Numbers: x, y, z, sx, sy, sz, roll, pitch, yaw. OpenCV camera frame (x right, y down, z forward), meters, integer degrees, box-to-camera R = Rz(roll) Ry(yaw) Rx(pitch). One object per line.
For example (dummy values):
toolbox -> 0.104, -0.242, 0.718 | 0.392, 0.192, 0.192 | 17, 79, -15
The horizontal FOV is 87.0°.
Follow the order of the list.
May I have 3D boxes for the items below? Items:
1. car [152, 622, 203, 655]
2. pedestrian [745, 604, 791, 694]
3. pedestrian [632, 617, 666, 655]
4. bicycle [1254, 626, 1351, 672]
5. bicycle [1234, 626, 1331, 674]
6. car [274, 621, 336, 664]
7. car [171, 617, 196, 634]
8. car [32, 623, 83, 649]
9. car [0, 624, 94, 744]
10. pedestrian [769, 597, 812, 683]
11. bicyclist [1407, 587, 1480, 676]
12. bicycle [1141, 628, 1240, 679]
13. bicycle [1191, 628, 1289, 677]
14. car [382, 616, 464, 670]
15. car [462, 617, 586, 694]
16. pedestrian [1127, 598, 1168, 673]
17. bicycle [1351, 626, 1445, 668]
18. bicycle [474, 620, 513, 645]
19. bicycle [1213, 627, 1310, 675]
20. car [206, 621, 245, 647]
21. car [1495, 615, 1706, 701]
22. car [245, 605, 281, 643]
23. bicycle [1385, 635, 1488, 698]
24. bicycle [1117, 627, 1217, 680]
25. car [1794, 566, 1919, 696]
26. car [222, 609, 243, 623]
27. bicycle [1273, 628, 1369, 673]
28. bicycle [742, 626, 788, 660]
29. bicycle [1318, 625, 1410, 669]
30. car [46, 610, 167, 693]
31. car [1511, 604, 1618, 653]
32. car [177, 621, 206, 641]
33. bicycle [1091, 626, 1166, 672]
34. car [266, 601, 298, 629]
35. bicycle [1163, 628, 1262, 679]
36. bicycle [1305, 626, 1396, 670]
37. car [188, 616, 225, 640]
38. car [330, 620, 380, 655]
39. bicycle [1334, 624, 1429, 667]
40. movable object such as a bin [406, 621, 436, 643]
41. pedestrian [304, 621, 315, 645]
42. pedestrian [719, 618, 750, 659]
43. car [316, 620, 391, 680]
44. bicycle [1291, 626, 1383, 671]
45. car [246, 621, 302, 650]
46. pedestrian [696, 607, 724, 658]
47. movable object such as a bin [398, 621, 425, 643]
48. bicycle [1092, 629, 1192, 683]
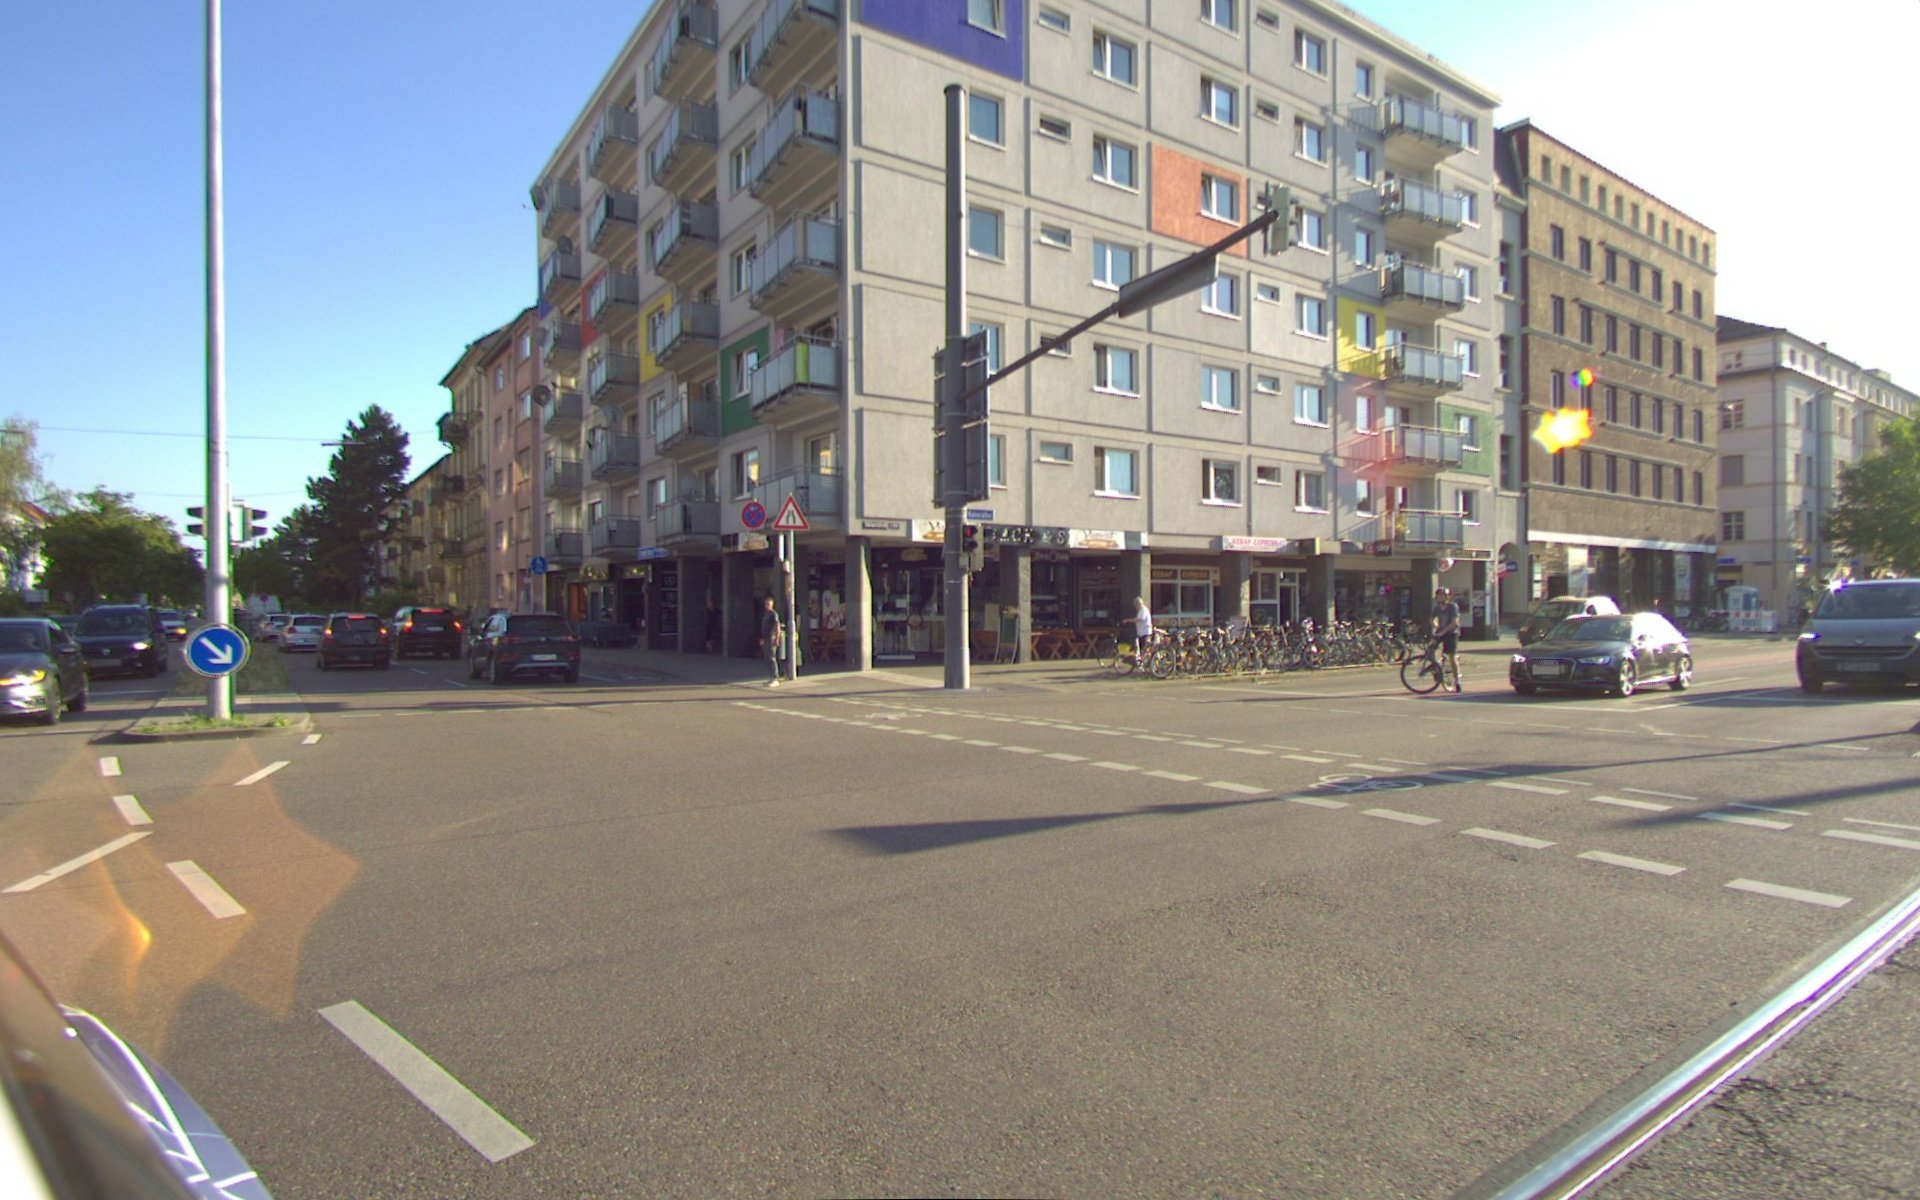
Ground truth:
car -> -40.135, 1.958, 51.956 | 1.877, 1.552, 4.010 | 0, 0, -35
pedestrian -> -3.986, 0.994, 20.952 | 0.600, 1.800, 0.814 | -3, 1, -31
pedestrian -> -11.298, 1.297, 36.777 | 0.958, 1.356, 0.885 | 0, -1, -35
bicycle -> 8.513, 1.201, 25.243 | 0.725, 1.059, 2.305 | 0, 0, -35
bicycle -> 7.864, 1.197, 24.786 | 0.725, 1.059, 2.305 | 0, 0, -35
car -> -25.338, 1.622, 39.107 | 1.654, 1.556, 3.813 | 2, -2, -38
car -> -68.835, 2.279, 89.757 | 1.730, 1.499, 4.257 | 1, -2, -37
car -> -56.581, 2.202, 63.518 | 1.875, 1.529, 4.085 | 0, -1, -34
car -> -13.455, 1.125, 14.005 | 1.742, 1.470, 4.280 | -2, -1, -34
pedestrian -> -3.841, 0.896, 22.935 | 0.600, 1.889, 0.814 | -3, 1, -34
bicyclist -> 9.003, 0.586, 18.865 | 0.726, 1.610, 0.965 | 1, -2, -34
bicycle -> 5.193, 1.188, 22.972 | 0.725, 1.059, 2.305 | 0, 0, -35
bicycle -> 6.578, 1.203, 23.928 | 0.725, 1.059, 2.305 | 0, 0, -35
car -> -18.488, 1.445, 34.718 | 1.792, 1.724, 4.797 | 2, -2, -36
car -> -9.938, 1.206, 22.891 | 1.770, 1.577, 4.157 | 1, -2, -35
pedestrian -> 4.513, 0.845, 24.386 | 0.600, 1.735, 0.686 | -3, 1, -35
bicycle -> 11.940, 1.273, 27.661 | 0.725, 1.059, 2.305 | 0, 0, -35
bicycle -> -23.674, 1.629, 51.392 | 1.752, 1.200, 0.474 | 0, -1, -37
bicycle -> 7.225, 1.200, 24.369 | 0.725, 1.059, 2.305 | 0, 0, -35
car -> -45.921, 2.131, 63.265 | 1.654, 1.556, 4.109 | 2, -2, -40
car -> 11.510, 0.958, 18.104 | 4.132, 1.322, 1.805 | 0, -1, -37
car -> -52.736, 1.783, 76.531 | 2.102, 2.777, 4.477 | 1, -2, -35
bicycle -> 8.826, 1.202, 18.718 | 1.753, 1.106, 0.954 | 1, -2, -34
bicycle -> 4.557, 1.159, 22.480 | 0.725, 1.059, 2.305 | 0, 0, -35
car -> 16.649, 0.485, 17.744 | 4.858, 2.029, 2.005 | 0, -1, -37
car -> -78.800, 1.728, 109.627 | 1.570, 1.554, 3.414 | 1, -1, -33
bicycle -> 9.147, 1.259, 25.736 | 0.725, 1.059, 2.305 | 0, 0, -35
bicycle -> -6.231, 1.365, 32.349 | 0.617, 1.006, 1.699 | 0, -1, -44
bicycle -> 10.650, 1.220, 26.762 | 0.636, 1.059, 2.305 | 0, 0, -35
car -> -20.980, 1.196, 25.050 | 1.865, 1.868, 4.477 | 1, -2, -35
car -> 20.127, 0.911, 33.662 | 3.935, 1.519, 1.700 | 0, -1, -37
car -> -60.602, 2.424, 79.771 | 1.572, 1.482, 3.991 | 1, -2, -40
bicycle -> 4.146, 1.188, 24.853 | 2.032, 1.100, 0.521 | 1, -2, -35
car -> -40.089, 0.910, 59.796 | 1.514, 1.605, 2.815 | 1, -2, -35
bicycle -> 5.815, 1.211, 23.450 | 0.725, 1.059, 2.305 | 0, 0, -35
bicycle -> 10.173, 1.234, 26.444 | 0.553, 1.059, 2.305 | 0, 0, -35
car -> -52.787, 1.958, 70.891 | 1.698, 1.641, 4.108 | 2, -2, -41
car -> -28.076, 1.722, 46.932 | 1.653, 1.556, 3.646 | 2, -2, -36
bicycle -> 11.294, 1.205, 27.202 | 0.725, 1.059, 2.305 | 0, 0, -35
movable object such as a bin -> -32.032, 1.884, 60.141 | 0.921, 1.242, 1.286 | -1, -1, 15
pedestrian -> -43.435, 2.206, 67.579 | 0.568, 1.612, 0.482 | 0, -1, -34
pedestrian -> -7.317, 1.239, 32.883 | 0.802, 1.323, 0.623 | -1, -1, 12
car -> -16.767, 1.346, 27.925 | 1.556, 1.556, 3.486 | 1, -2, -34
bicycle -> 9.696, 1.226, 26.108 | 0.553, 1.059, 2.305 | 0, 0, -35
car -> -34.781, 1.781, 51.262 | 1.688, 1.436, 4.106 | 2, -2, -43
pedestrian -> -8.378, 1.083, 33.915 | 0.654, 1.685, 0.621 | -1, -1, 19
movable object such as a bin -> -32.860, 1.906, 60.656 | 0.841, 1.242, 1.187 | -1, -1, 15
bicycle -> 3.919, 1.183, 22.001 | 0.725, 1.059, 2.305 | 0, -1, -35
